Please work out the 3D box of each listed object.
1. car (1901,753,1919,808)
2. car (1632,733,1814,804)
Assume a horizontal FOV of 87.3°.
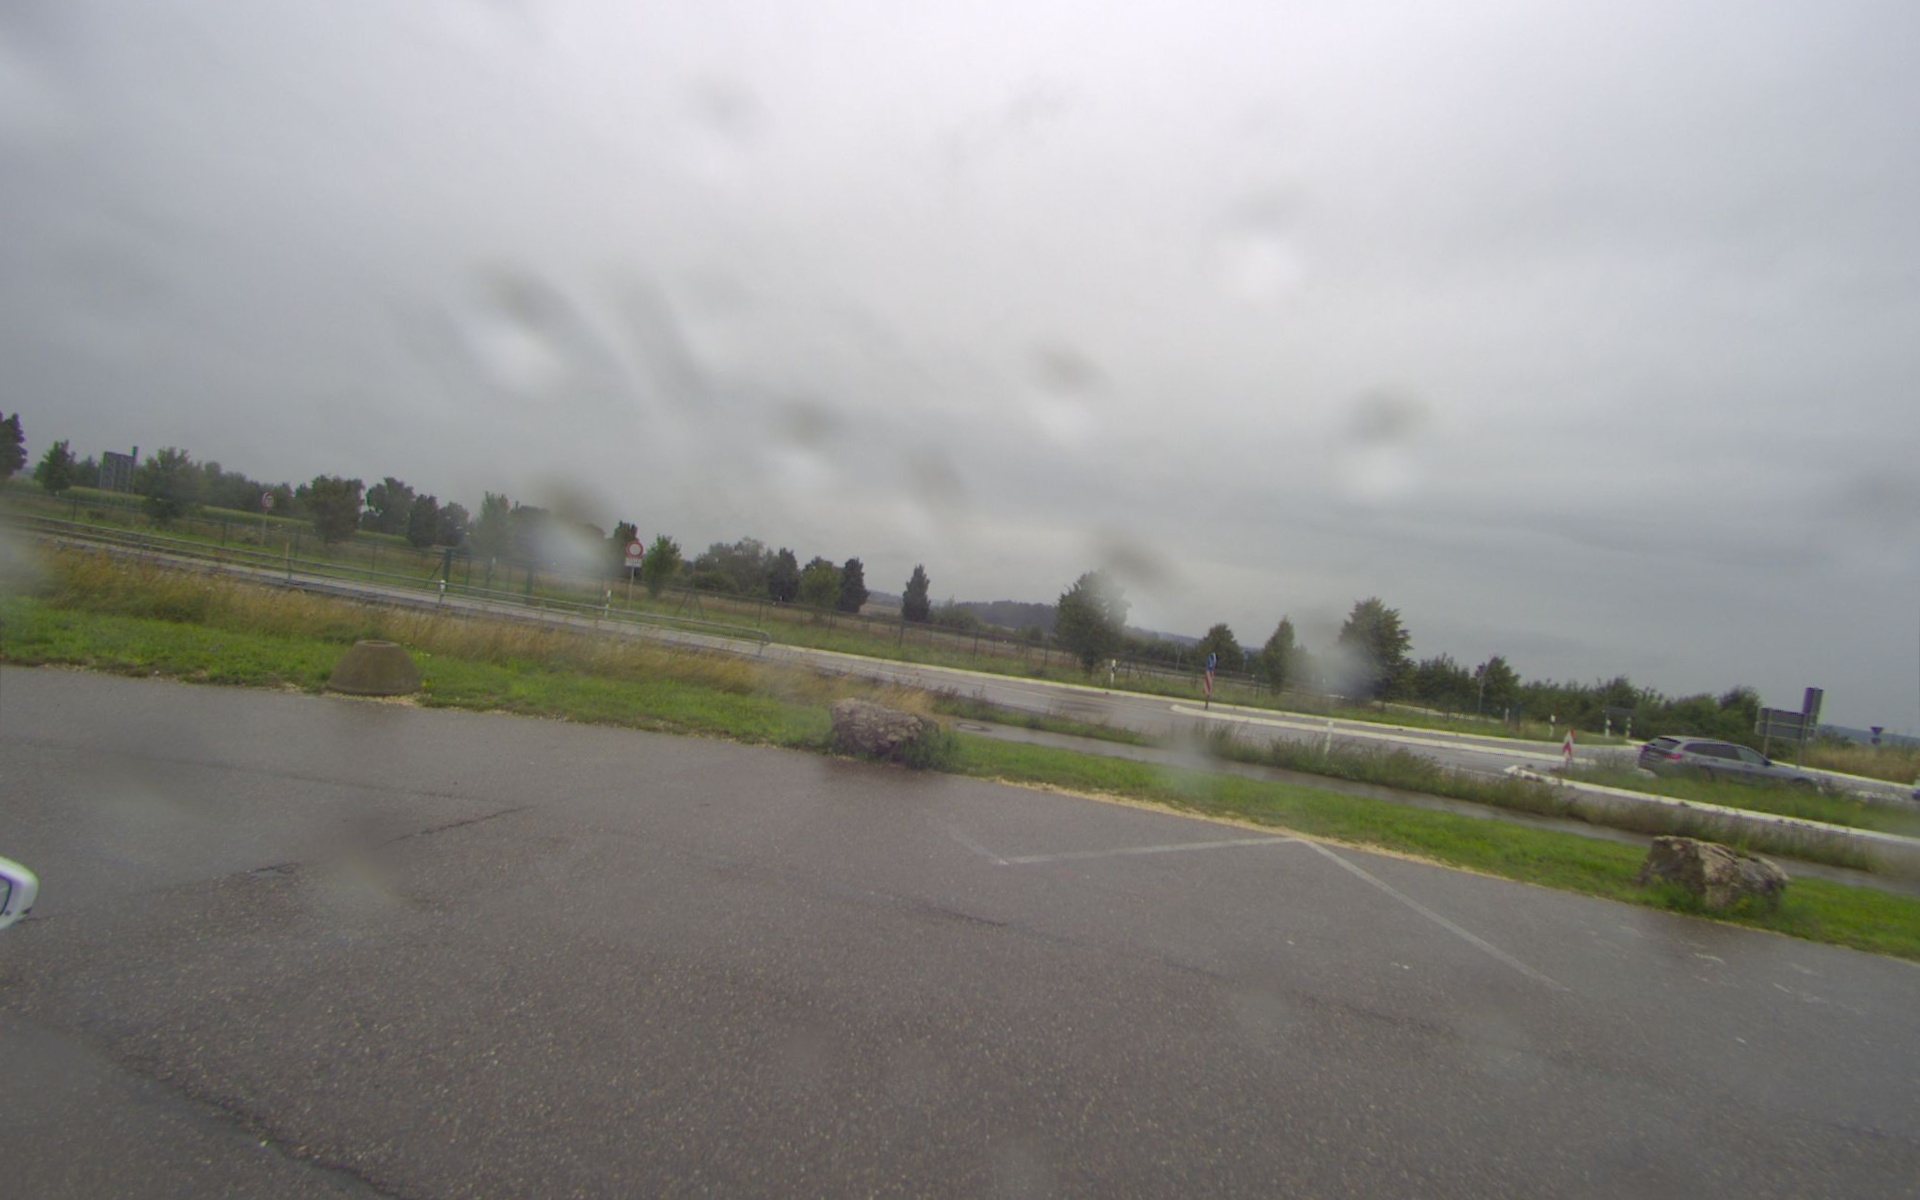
[{"bbox_3d":[31.081,5.741,29.792,4.302,1.603,1.695,8,-1,11],"label":"car"},{"bbox_3d":[22.870,5.042,30.282,3.967,1.341,1.695,8,-1,6],"label":"car"}]
